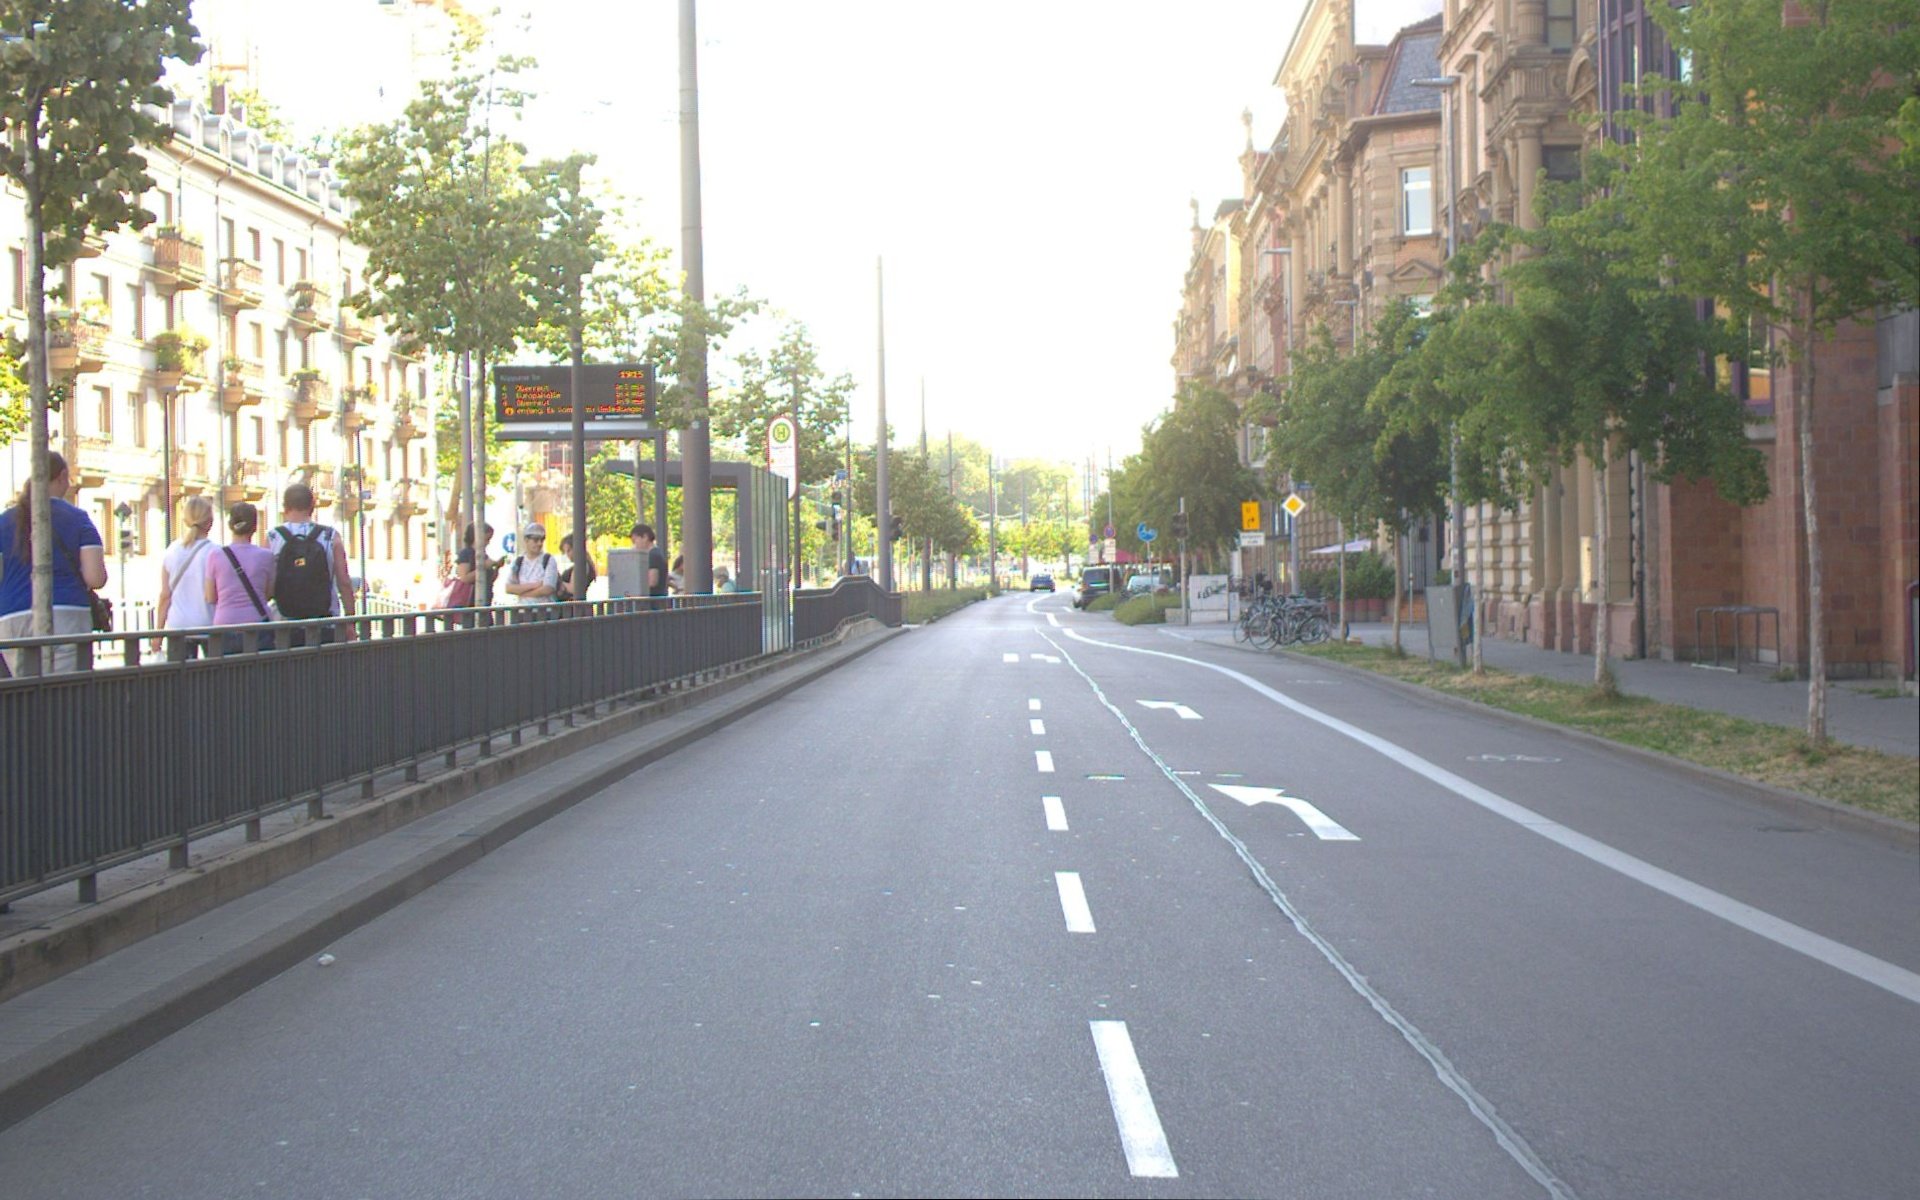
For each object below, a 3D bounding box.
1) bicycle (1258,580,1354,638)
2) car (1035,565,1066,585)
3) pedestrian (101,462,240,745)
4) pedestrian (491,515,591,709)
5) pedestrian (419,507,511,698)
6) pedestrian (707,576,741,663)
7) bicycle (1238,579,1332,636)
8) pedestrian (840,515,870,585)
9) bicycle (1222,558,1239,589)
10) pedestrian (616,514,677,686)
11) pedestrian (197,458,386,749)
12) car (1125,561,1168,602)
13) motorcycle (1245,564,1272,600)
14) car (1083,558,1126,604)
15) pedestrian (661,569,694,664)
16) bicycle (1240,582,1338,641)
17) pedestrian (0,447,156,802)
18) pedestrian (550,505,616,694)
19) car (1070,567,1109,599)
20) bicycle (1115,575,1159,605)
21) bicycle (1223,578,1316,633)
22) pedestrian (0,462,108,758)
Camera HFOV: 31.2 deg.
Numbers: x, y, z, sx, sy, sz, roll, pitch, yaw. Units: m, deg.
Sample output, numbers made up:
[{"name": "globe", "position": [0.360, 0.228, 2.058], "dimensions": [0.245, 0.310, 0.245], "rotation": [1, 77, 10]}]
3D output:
[{"name": "bicycle", "position": [7.120, 0.179, 70.765], "dimensions": [1.825, 1.061, 0.664], "rotation": [-4, 1, -3]}, {"name": "car", "position": [6.703, -1.853, 254.651], "dimensions": [1.798, 1.459, 3.999], "rotation": [-1, 0, 8]}, {"name": "pedestrian", "position": [-4.742, 0.019, 20.673], "dimensions": [0.656, 1.666, 0.672], "rotation": [-1, 0, 0]}, {"name": "pedestrian", "position": [-3.433, 0.090, 28.204], "dimensions": [0.673, 1.556, 0.906], "rotation": [-1, 0, 1]}, {"name": "pedestrian", "position": [-4.546, 0.019, 31.602], "dimensions": [0.719, 1.726, 0.651], "rotation": [-1, 0, 1]}, {"name": "pedestrian", "position": [-3.235, 0.265, 47.038], "dimensions": [0.406, 1.186, 0.430], "rotation": [0, 0, -11]}, {"name": "bicycle", "position": [6.819, 0.150, 72.158], "dimensions": [1.825, 1.061, 0.664], "rotation": [-4, 1, -3]}, {"name": "pedestrian", "position": [-2.449, -1.165, 80.441], "dimensions": [0.655, 1.637, 0.867], "rotation": [0, -1, 1]}, {"name": "bicycle", "position": [12.789, -1.253, 162.584], "dimensions": [0.661, 1.397, 2.352], "rotation": [-1, 1, 1]}, {"name": "pedestrian", "position": [-3.095, 0.000, 33.977], "dimensions": [0.505, 1.673, 0.651], "rotation": [-1, 0, 1]}, {"name": "pedestrian", "position": [-3.952, 0.014, 20.406], "dimensions": [0.888, 1.666, 1.096], "rotation": [-1, 0, 0]}, {"name": "car", "position": [7.582, -0.752, 139.641], "dimensions": [1.637, 1.481, 4.211], "rotation": [-3, 1, 4]}, {"name": "motorcycle", "position": [11.661, -0.715, 134.485], "dimensions": [0.795, 1.304, 2.852], "rotation": [-3, 1, 1]}, {"name": "car", "position": [6.583, -0.882, 155.925], "dimensions": [1.885, 1.930, 4.473], "rotation": [-1, 1, 3]}, {"name": "pedestrian", "position": [-4.105, 0.235, 49.909], "dimensions": [0.428, 1.381, 0.408], "rotation": [0, 0, -11]}, {"name": "bicycle", "position": [6.637, 0.222, 69.406], "dimensions": [1.825, 1.061, 0.664], "rotation": [-4, 1, -3]}, {"name": "pedestrian", "position": [-4.408, 0.116, 16.559], "dimensions": [0.888, 1.666, 0.672], "rotation": [-1, 0, 0]}, {"name": "pedestrian", "position": [-3.497, -0.009, 31.920], "dimensions": [0.505, 1.726, 0.651], "rotation": [-1, 0, 1]}, {"name": "car", "position": [6.392, -0.856, 169.602], "dimensions": [1.850, 1.452, 4.156], "rotation": [-1, 1, 3]}, {"name": "bicycle", "position": [6.758, -0.386, 131.574], "dimensions": [1.576, 1.044, 0.489], "rotation": [-3, 1, -6]}, {"name": "bicycle", "position": [6.626, 0.116, 73.637], "dimensions": [1.825, 1.061, 0.664], "rotation": [-4, 1, -3]}, {"name": "pedestrian", "position": [-4.836, 0.046, 17.604], "dimensions": [0.682, 1.478, 0.829], "rotation": [0, 0, 5]}]
